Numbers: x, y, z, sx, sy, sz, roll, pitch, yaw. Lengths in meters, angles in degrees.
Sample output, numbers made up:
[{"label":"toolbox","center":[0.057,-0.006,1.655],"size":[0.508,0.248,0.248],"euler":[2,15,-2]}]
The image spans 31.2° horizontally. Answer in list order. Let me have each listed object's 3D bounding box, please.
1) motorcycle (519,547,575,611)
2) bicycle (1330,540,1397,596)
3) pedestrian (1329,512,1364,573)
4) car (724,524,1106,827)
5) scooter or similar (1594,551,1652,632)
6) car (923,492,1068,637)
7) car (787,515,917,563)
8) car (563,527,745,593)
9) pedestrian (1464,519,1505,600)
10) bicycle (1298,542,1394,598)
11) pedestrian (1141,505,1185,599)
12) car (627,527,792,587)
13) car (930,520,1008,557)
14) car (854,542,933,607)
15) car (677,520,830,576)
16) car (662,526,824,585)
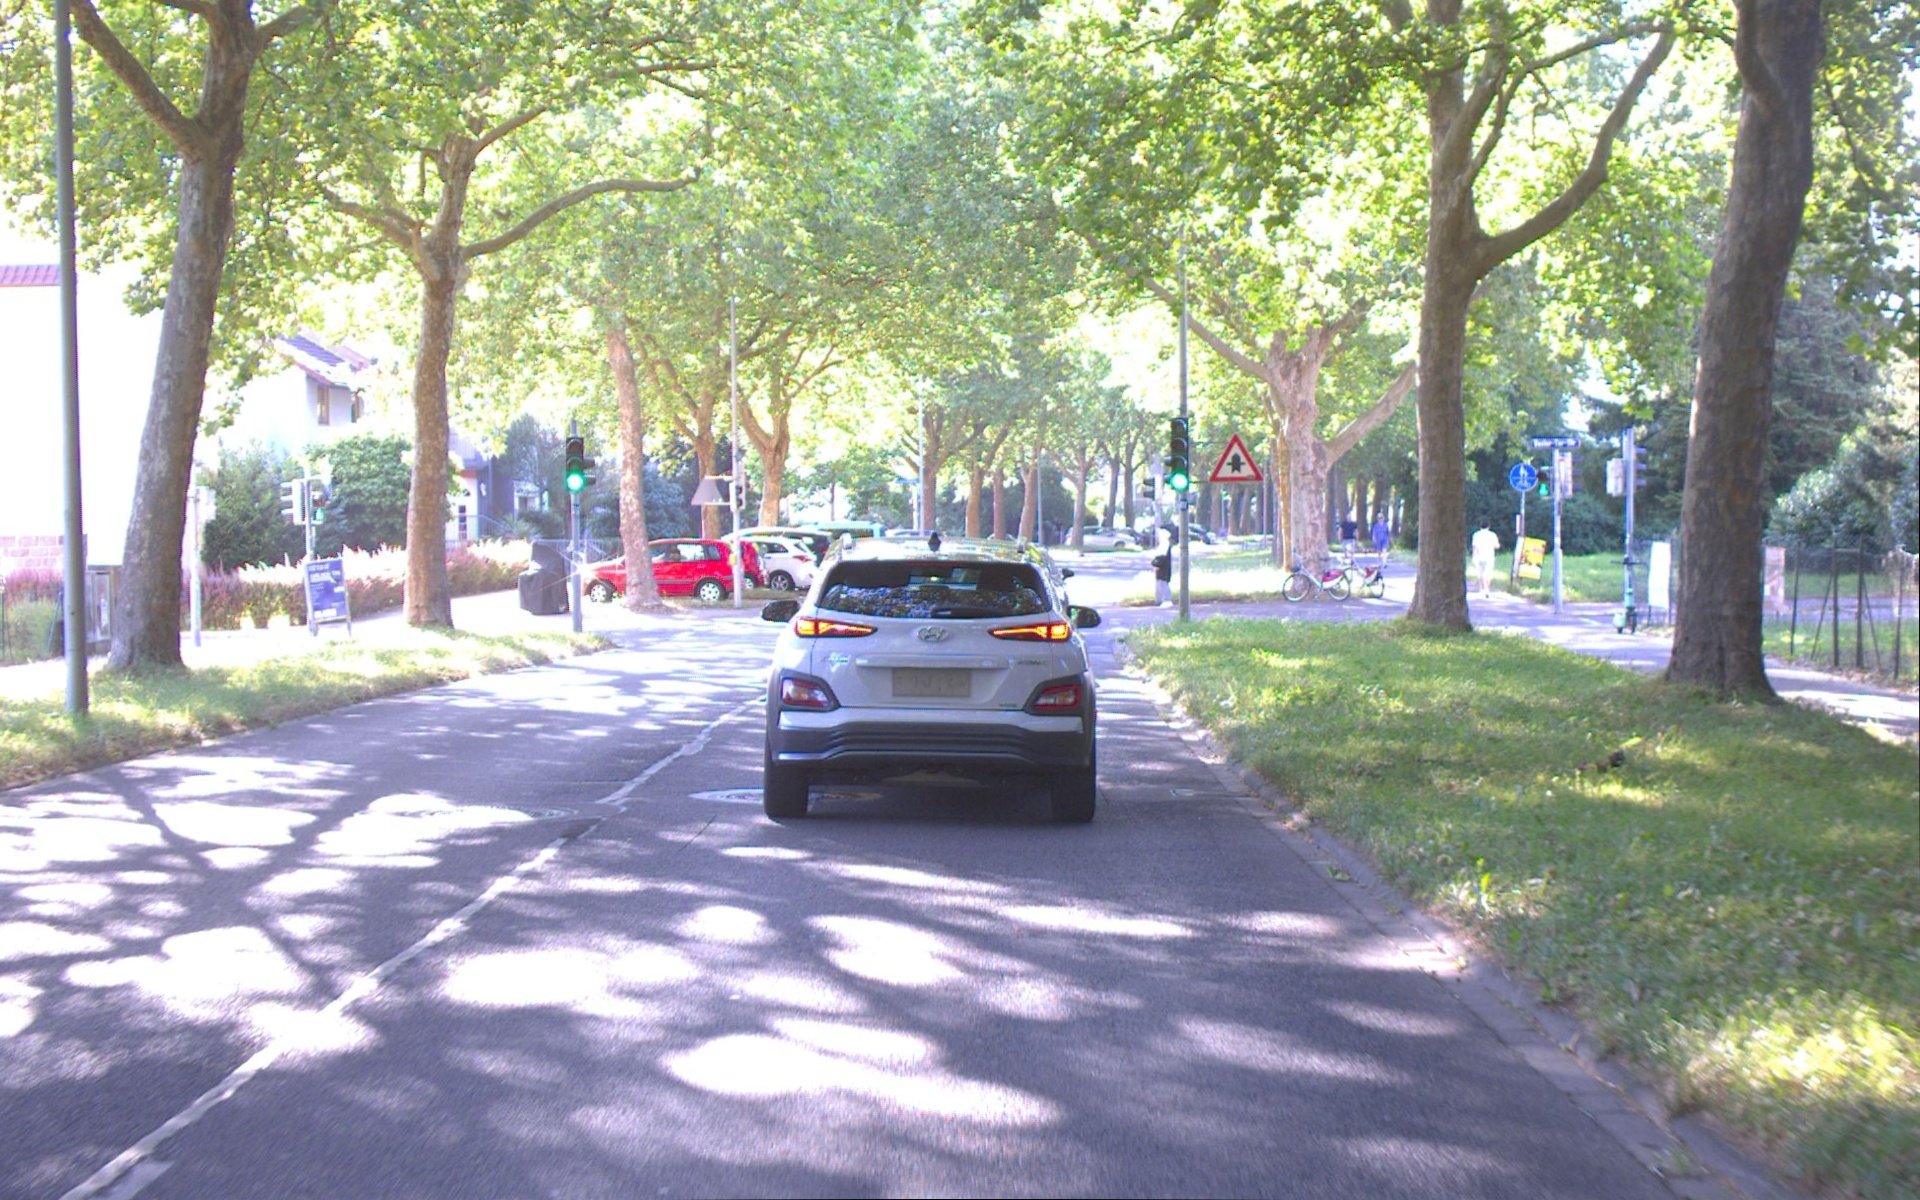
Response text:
[{"label":"motorcycle","center":[-9.029,-0.465,75.323],"size":[0.846,1.374,2.776],"euler":[1,1,1]},{"label":"bicycle","center":[8.655,-0.700,73.806],"size":[0.603,1.179,2.119],"euler":[0,1,-18]},{"label":"pedestrian","center":[12.655,-1.885,112.453],"size":[1.095,2.007,1.105],"euler":[0,1,8]},{"label":"car","center":[-0.212,0.370,20.075],"size":[1.993,1.569,4.000],"euler":[1,1,1]},{"label":"scooter or similar","center":[10.492,-0.141,54.463],"size":[0.549,1.254,2.313],"euler":[1,1,2]},{"label":"car","center":[0.467,-0.516,49.828],"size":[1.993,2.007,4.000],"euler":[1,1,-1]},{"label":"car","center":[-3.411,-1.946,109.359],"size":[3.987,1.473,2.000],"euler":[1,1,2]},{"label":"car","center":[-7.086,-0.933,79.863],"size":[3.987,1.473,2.000],"euler":[1,1,2]},{"label":"pedestrian","center":[11.317,-0.878,74.150],"size":[0.834,1.730,0.884],"euler":[1,0,10]},{"label":"bicycle","center":[8.144,-0.637,72.580],"size":[0.603,1.160,2.149],"euler":[0,1,-42]},{"label":"pedestrian","center":[4.414,-1.044,74.724],"size":[0.868,2.007,0.813],"euler":[1,0,9]},{"label":"car","center":[-6.346,-1.097,87.367],"size":[3.987,1.473,2.000],"euler":[1,1,2]},{"label":"car","center":[0.434,-3.047,171.216],"size":[3.668,1.802,1.749],"euler":[0,1,-8]},{"label":"car","center":[-1.549,-0.628,81.505],"size":[1.688,1.432,3.682],"euler":[1,2,2]},{"label":"car","center":[-5.609,-1.411,93.721],"size":[3.987,1.473,2.000],"euler":[1,1,2]},{"label":"car","center":[-5.648,-1.153,89.690],"size":[3.987,1.473,2.000],"euler":[1,1,4]}]
